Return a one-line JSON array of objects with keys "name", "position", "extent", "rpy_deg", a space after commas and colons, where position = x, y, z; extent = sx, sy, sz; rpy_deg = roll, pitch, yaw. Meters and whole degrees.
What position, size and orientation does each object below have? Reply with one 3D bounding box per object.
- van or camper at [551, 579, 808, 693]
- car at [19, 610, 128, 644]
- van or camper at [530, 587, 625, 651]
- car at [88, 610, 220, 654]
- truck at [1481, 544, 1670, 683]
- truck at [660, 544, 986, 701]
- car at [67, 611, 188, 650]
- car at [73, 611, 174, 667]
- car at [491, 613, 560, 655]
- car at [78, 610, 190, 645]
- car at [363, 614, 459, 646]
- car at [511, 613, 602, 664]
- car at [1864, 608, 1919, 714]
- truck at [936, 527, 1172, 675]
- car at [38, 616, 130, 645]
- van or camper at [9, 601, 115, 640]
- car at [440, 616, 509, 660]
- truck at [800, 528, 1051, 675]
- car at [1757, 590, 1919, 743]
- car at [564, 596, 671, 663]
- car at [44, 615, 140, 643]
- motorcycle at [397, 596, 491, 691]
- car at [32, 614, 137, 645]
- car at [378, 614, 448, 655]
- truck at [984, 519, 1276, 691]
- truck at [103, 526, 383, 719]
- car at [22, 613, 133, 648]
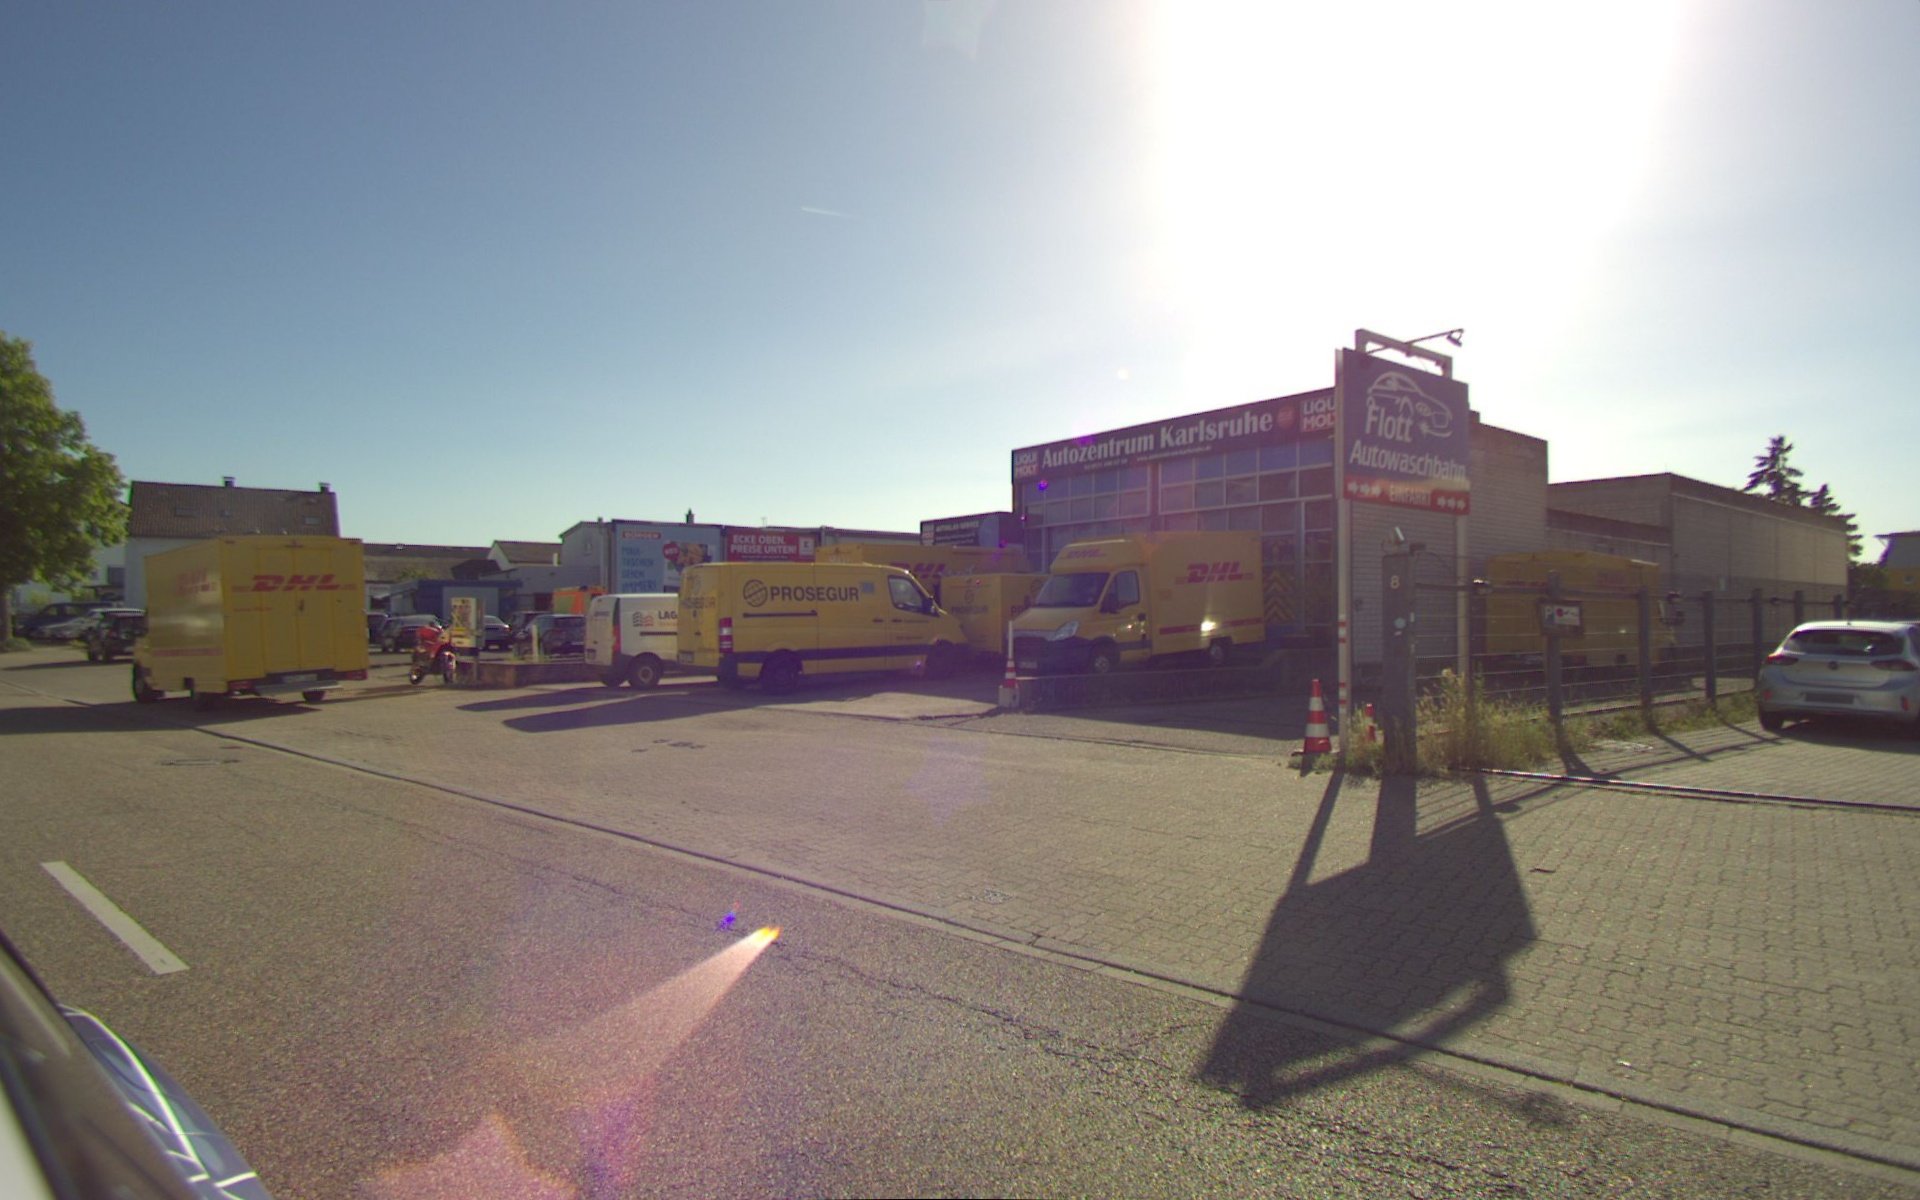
[{"name": "van or camper", "position": [-5.578, 0.683, 20.485], "extent": [4.490, 2.029, 2.253], "rpy_deg": [1, -1, -44]}, {"name": "car", "position": [-47.154, 1.418, 53.905], "extent": [1.766, 1.766, 4.202], "rpy_deg": [-1, -2, 43]}, {"name": "van or camper", "position": [-17.536, 0.852, 46.168], "extent": [2.137, 2.736, 6.280], "rpy_deg": [1, -1, -40]}, {"name": "car", "position": [-34.049, 1.334, 42.811], "extent": [4.199, 1.742, 1.767], "rpy_deg": [1, -2, -45]}, {"name": "truck", "position": [14.643, 0.313, 23.987], "extent": [4.643, 2.959, 2.417], "rpy_deg": [1, -1, -39]}, {"name": "truck", "position": [-2.463, 0.335, 19.358], "extent": [5.846, 2.587, 2.228], "rpy_deg": [-1, 0, -39]}, {"name": "car", "position": [-39.459, 1.414, 48.034], "extent": [1.765, 1.742, 4.204], "rpy_deg": [-1, -1, 42]}, {"name": "car", "position": [-28.855, 1.288, 34.879], "extent": [4.272, 1.727, 1.843], "rpy_deg": [-1, 2, 39]}, {"name": "car", "position": [-19.211, 1.499, 44.683], "extent": [1.754, 1.762, 4.171], "rpy_deg": [1, -3, -39]}, {"name": "car", "position": [-42.436, 1.383, 52.057], "extent": [1.764, 1.742, 4.205], "rpy_deg": [-1, -1, 40]}, {"name": "car", "position": [-26.767, 1.427, 49.386], "extent": [3.935, 1.461, 1.673], "rpy_deg": [0, 0, -37]}, {"name": "car", "position": [-13.406, 1.268, 33.458], "extent": [1.753, 1.557, 4.306], "rpy_deg": [1, -2, -37]}, {"name": "car", "position": [16.857, 0.971, 17.067], "extent": [4.037, 1.671, 1.849], "rpy_deg": [1, -1, -40]}, {"name": "truck", "position": [2.220, 0.060, 23.001], "extent": [5.265, 2.995, 2.177], "rpy_deg": [1, -1, -37]}, {"name": "car", "position": [-49.697, 1.710, 57.490], "extent": [1.547, 1.553, 3.767], "rpy_deg": [-1, -1, 40]}, {"name": "van or camper", "position": [-55.967, 1.230, 63.215], "extent": [4.830, 2.337, 2.248], "rpy_deg": [0, 0, -39]}, {"name": "car", "position": [-20.582, 1.604, 42.826], "extent": [1.754, 1.762, 4.171], "rpy_deg": [1, -3, -39]}, {"name": "truck", "position": [-0.731, -0.011, 24.351], "extent": [5.597, 3.143, 2.527], "rpy_deg": [-1, 0, -39]}, {"name": "car", "position": [12.470, 0.808, 13.703], "extent": [4.037, 1.805, 1.849], "rpy_deg": [1, -1, -40]}, {"name": "car", "position": [-10.328, 0.816, 30.345], "extent": [1.967, 1.829, 4.010], "rpy_deg": [-1, 1, -35]}, {"name": "car", "position": [-51.039, 1.673, 59.530], "extent": [4.200, 1.553, 1.767], "rpy_deg": [0, -1, -45]}, {"name": "motorcycle", "position": [-11.151, 0.916, 21.807], "extent": [3.041, 1.887, 0.772], "rpy_deg": [-2, 1, 44]}, {"name": "car", "position": [-48.740, 1.601, 56.428], "extent": [1.764, 1.597, 4.207], "rpy_deg": [-1, -1, 38]}, {"name": "car", "position": [-22.220, 1.417, 41.060], "extent": [1.754, 1.557, 4.171], "rpy_deg": [1, -3, -39]}, {"name": "truck", "position": [3.536, 0.015, 20.246], "extent": [6.013, 2.994, 2.177], "rpy_deg": [-2, 0, -38]}, {"name": "truck", "position": [-13.651, 0.366, 18.999], "extent": [7.237, 3.005, 2.379], "rpy_deg": [-1, 1, 39]}, {"name": "car", "position": [-45.409, 1.547, 52.139], "extent": [4.199, 1.742, 1.767], "rpy_deg": [1, -2, -45]}]
